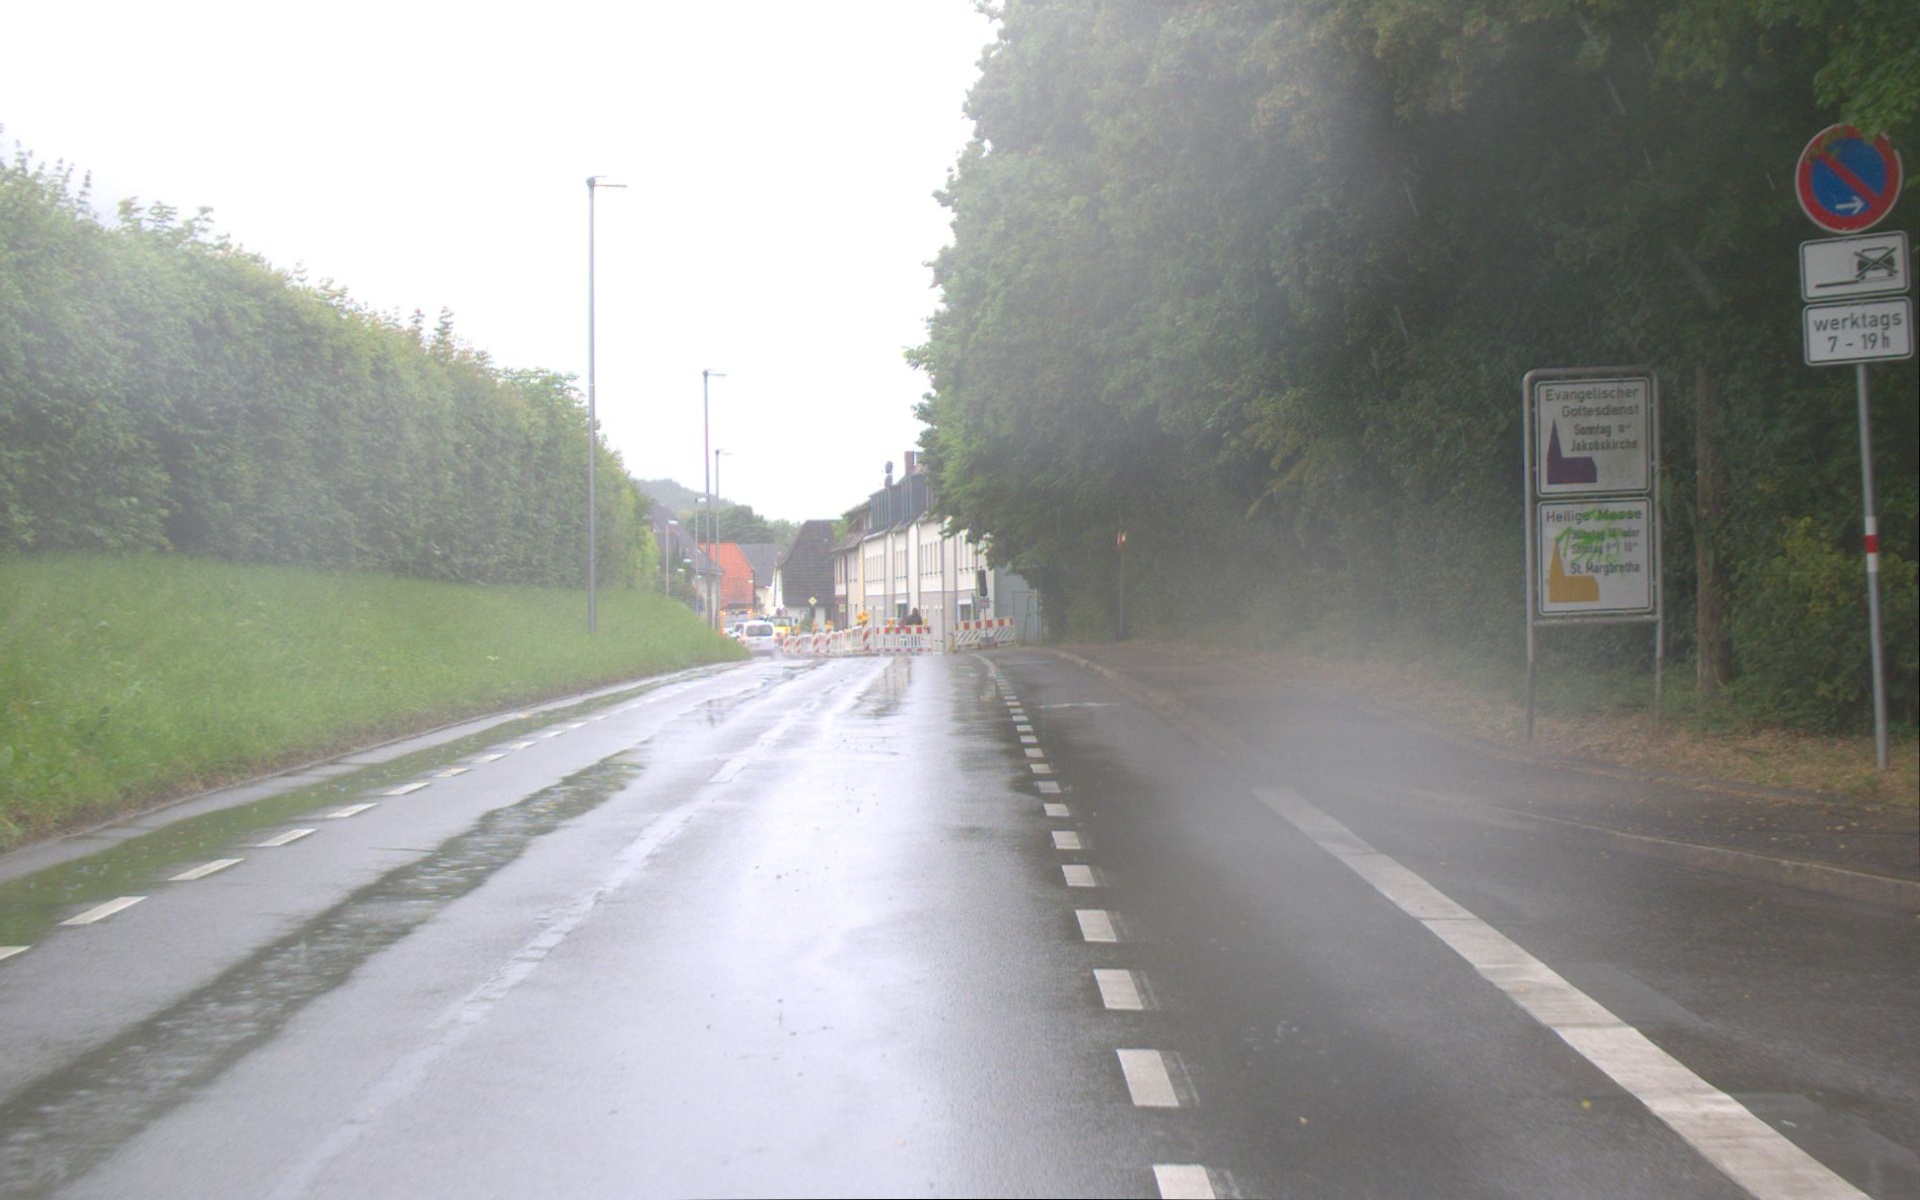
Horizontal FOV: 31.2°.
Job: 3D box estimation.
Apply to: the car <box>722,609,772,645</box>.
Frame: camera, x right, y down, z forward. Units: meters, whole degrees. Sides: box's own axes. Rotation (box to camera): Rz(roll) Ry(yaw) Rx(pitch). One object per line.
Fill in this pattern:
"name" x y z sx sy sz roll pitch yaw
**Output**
"car" -10.322 1.290 166.585 1.993 1.605 4.001 1 1 -9
